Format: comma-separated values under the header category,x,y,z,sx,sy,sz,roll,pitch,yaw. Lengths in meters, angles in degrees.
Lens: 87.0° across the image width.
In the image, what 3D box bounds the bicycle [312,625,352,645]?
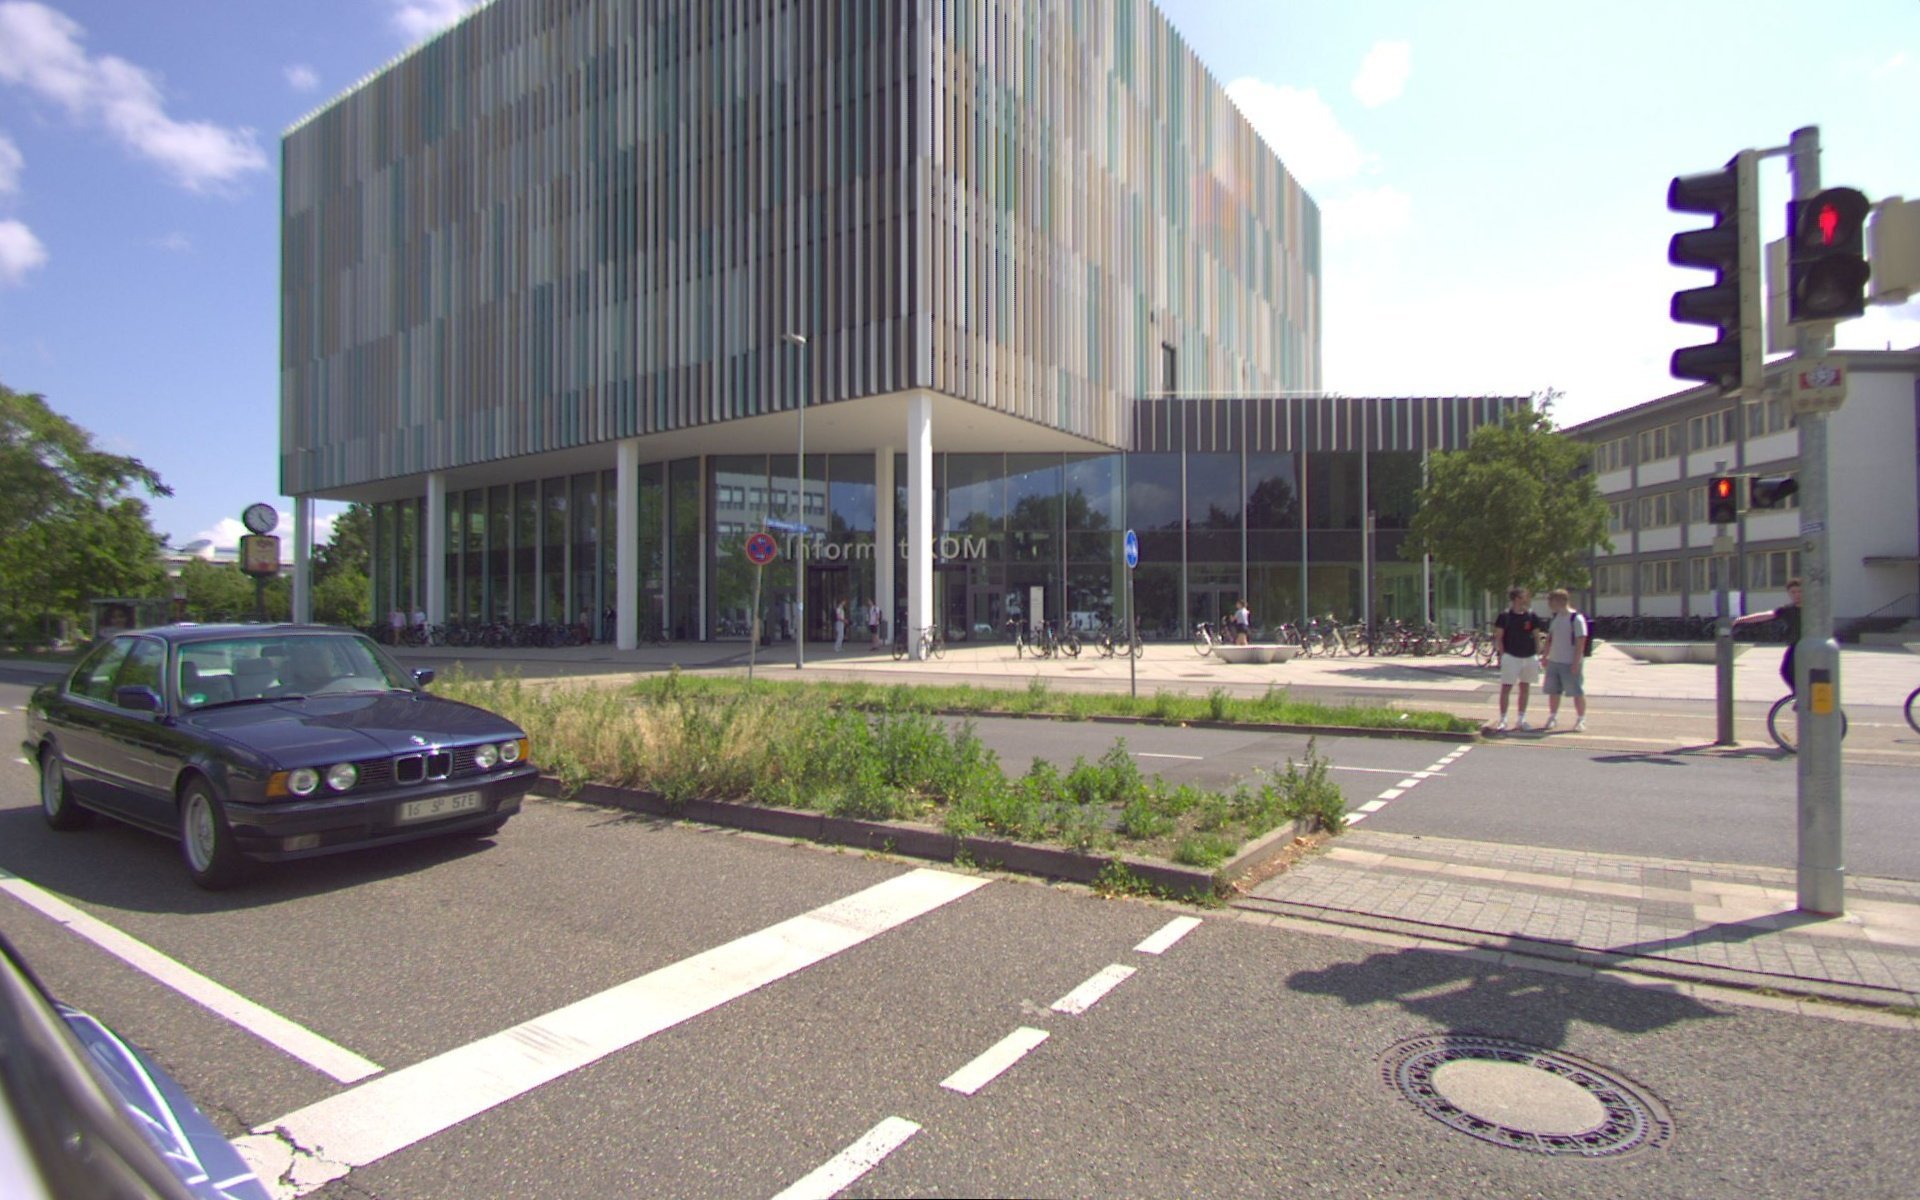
category,x,y,z,sx,sy,sz,roll,pitch,yaw
bicycle,-33.279,1.858,53.682,0.432,0.962,1.764,-1,0,34

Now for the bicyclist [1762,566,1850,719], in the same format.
category,x,y,z,sx,sy,sz,roll,pitch,yaw
bicyclist,9.511,0.462,11.372,0.657,1.628,0.985,-2,-1,44

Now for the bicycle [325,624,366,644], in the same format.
category,x,y,z,sx,sy,sz,roll,pitch,yaw
bicycle,-32.122,1.770,52.918,0.432,0.962,1.764,-1,0,34

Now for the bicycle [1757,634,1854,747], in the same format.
category,x,y,z,sx,sy,sz,roll,pitch,yaw
bicycle,9.511,0.974,11.364,0.695,1.133,1.647,-2,-1,44

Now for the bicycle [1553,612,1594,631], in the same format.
category,x,y,z,sx,sy,sz,roll,pitch,yaw
bicycle,32.158,1.108,53.053,1.752,0.962,0.528,0,1,7

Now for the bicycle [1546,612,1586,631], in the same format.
category,x,y,z,sx,sy,sz,roll,pitch,yaw
bicycle,32.220,1.136,53.792,1.752,0.962,0.528,0,1,7

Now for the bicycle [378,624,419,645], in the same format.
category,x,y,z,sx,sy,sz,roll,pitch,yaw
bicycle,-27.990,1.733,50.442,0.432,0.962,1.764,-1,0,34

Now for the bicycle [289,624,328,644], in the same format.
category,x,y,z,sx,sy,sz,roll,pitch,yaw
bicycle,-35.553,1.852,55.270,0.432,0.962,1.764,-1,0,34

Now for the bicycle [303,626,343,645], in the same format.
category,x,y,z,sx,sy,sz,roll,pitch,yaw
bicycle,-34.135,1.900,54.239,0.432,0.962,1.764,-1,0,34

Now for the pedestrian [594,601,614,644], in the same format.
category,x,y,z,sx,sy,sz,roll,pitch,yaw
pedestrian,-15.387,0.973,43.757,0.552,1.856,0.557,-1,0,27

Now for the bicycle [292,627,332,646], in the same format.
category,x,y,z,sx,sy,sz,roll,pitch,yaw
bicycle,-35.059,1.972,54.747,0.432,0.962,1.764,-1,0,34

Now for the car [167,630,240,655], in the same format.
category,x,y,z,sx,sy,sz,roll,pitch,yaw
car,-53.373,2.964,71.400,1.898,1.522,3.777,-1,1,40

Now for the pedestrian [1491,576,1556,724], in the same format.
category,x,y,z,sx,sy,sz,roll,pitch,yaw
pedestrian,7.265,0.635,13.065,0.628,1.856,0.476,-1,0,21

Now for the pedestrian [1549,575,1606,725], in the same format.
category,x,y,z,sx,sy,sz,roll,pitch,yaw
pedestrian,7.852,0.624,12.890,0.573,1.856,0.411,-1,0,30

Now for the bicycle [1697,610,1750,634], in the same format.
category,x,y,z,sx,sy,sz,roll,pitch,yaw
bicycle,32.513,0.937,43.099,1.752,0.962,0.528,0,1,7

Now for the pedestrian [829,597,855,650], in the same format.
category,x,y,z,sx,sy,sz,roll,pitch,yaw
pedestrian,-4.137,0.814,35.451,0.775,1.856,0.519,-1,0,-21

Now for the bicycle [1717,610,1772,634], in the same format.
category,x,y,z,sx,sy,sz,roll,pitch,yaw
bicycle,32.402,0.904,41.808,1.752,0.962,0.528,0,1,7

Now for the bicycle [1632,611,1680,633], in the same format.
category,x,y,z,sx,sy,sz,roll,pitch,yaw
bicycle,32.169,1.011,46.782,1.752,0.962,0.528,0,1,7

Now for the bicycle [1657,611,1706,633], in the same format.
category,x,y,z,sx,sy,sz,roll,pitch,yaw
bicycle,32.454,0.991,45.528,1.752,0.962,0.528,0,1,7

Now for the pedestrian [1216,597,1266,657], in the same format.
category,x,y,z,sx,sy,sz,roll,pitch,yaw
pedestrian,7.943,0.763,28.621,1.013,1.663,1.169,-1,-1,35

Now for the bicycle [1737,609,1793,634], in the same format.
category,x,y,z,sx,sy,sz,roll,pitch,yaw
bicycle,32.404,0.867,40.759,1.752,0.962,0.528,0,1,7

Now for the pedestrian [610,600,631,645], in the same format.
category,x,y,z,sx,sy,sz,roll,pitch,yaw
pedestrian,-14.267,0.929,42.534,0.552,1.856,0.557,-1,0,27

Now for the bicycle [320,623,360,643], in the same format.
category,x,y,z,sx,sy,sz,roll,pitch,yaw
bicycle,-32.644,1.721,53.269,0.432,0.962,1.764,-1,0,34

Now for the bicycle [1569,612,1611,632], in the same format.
category,x,y,z,sx,sy,sz,roll,pitch,yaw
bicycle,32.064,1.119,51.525,1.752,0.962,0.528,0,1,7

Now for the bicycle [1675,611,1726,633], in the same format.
category,x,y,z,sx,sy,sz,roll,pitch,yaw
bicycle,32.494,0.964,44.426,1.752,0.962,0.528,0,1,7

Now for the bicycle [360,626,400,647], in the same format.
category,x,y,z,sx,sy,sz,roll,pitch,yaw
bicycle,-29.212,1.826,50.992,0.432,0.962,1.764,-1,0,34

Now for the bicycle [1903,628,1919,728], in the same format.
category,x,y,z,sx,sy,sz,roll,pitch,yaw
bicycle,11.704,0.880,11.243,1.653,1.133,0.693,-1,-1,10

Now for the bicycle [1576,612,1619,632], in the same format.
category,x,y,z,sx,sy,sz,roll,pitch,yaw
bicycle,31.911,1.085,50.645,1.752,0.962,0.528,0,1,7

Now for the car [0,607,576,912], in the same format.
category,x,y,z,sx,sy,sz,roll,pitch,yaw
car,-4.699,0.799,6.761,4.602,1.397,1.677,-1,0,35

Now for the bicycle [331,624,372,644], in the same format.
category,x,y,z,sx,sy,sz,roll,pitch,yaw
bicycle,-31.378,1.732,52.221,0.432,0.962,1.764,-1,0,34

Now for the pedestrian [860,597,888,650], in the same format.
category,x,y,z,sx,sy,sz,roll,pitch,yaw
pedestrian,-3.063,0.818,35.893,0.678,1.856,0.681,-1,0,42

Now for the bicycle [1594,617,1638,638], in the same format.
category,x,y,z,sx,sy,sz,roll,pitch,yaw
bicycle,31.970,1.347,49.335,1.752,0.962,0.528,0,1,7

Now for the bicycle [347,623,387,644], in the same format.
category,x,y,z,sx,sy,sz,roll,pitch,yaw
bicycle,-30.158,1.712,51.482,0.432,0.962,1.764,-1,0,34
